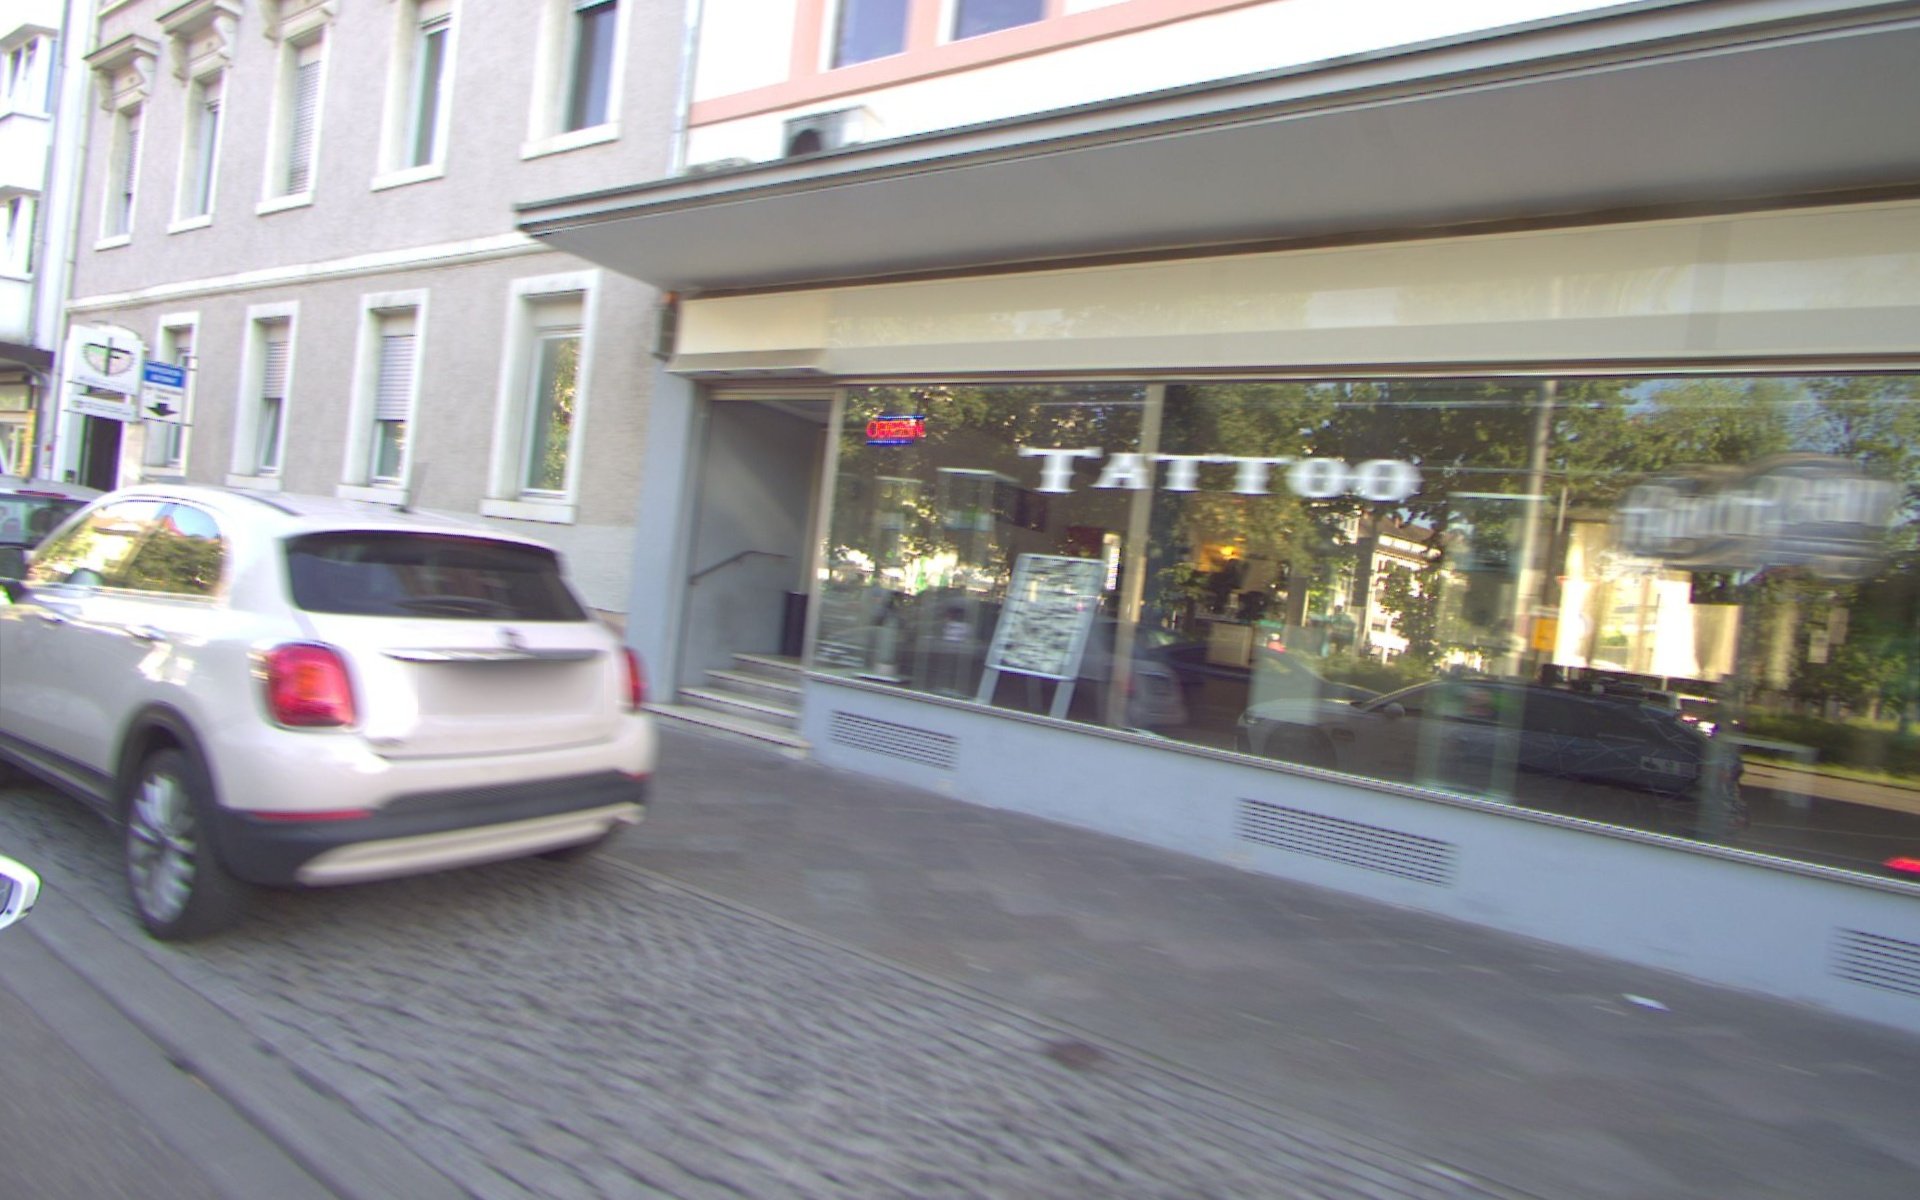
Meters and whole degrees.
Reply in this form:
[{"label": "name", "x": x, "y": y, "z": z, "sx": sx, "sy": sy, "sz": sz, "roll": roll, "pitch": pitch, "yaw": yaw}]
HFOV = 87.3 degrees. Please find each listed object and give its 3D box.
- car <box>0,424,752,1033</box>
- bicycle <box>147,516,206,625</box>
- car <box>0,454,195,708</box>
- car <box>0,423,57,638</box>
[{"label": "car", "x": -3.510, "y": 0.247, "z": 4.938, "sx": 4.879, "sy": 1.759, "sz": 1.748, "roll": 6, "pitch": -2, "yaw": 32}, {"label": "bicycle", "x": -9.393, "y": -0.362, "z": 12.045, "sx": 0.480, "sy": 1.201, "sz": 1.701, "roll": 3, "pitch": 1, "yaw": -39}, {"label": "car", "x": -7.600, "y": -0.253, "z": 7.564, "sx": 3.696, "sy": 1.623, "sz": 1.701, "roll": 6, "pitch": -1, "yaw": 33}, {"label": "car", "x": -11.620, "y": -0.974, "z": 10.325, "sx": 5.031, "sy": 2.029, "sz": 1.996, "roll": 7, "pitch": 0, "yaw": 31}]
